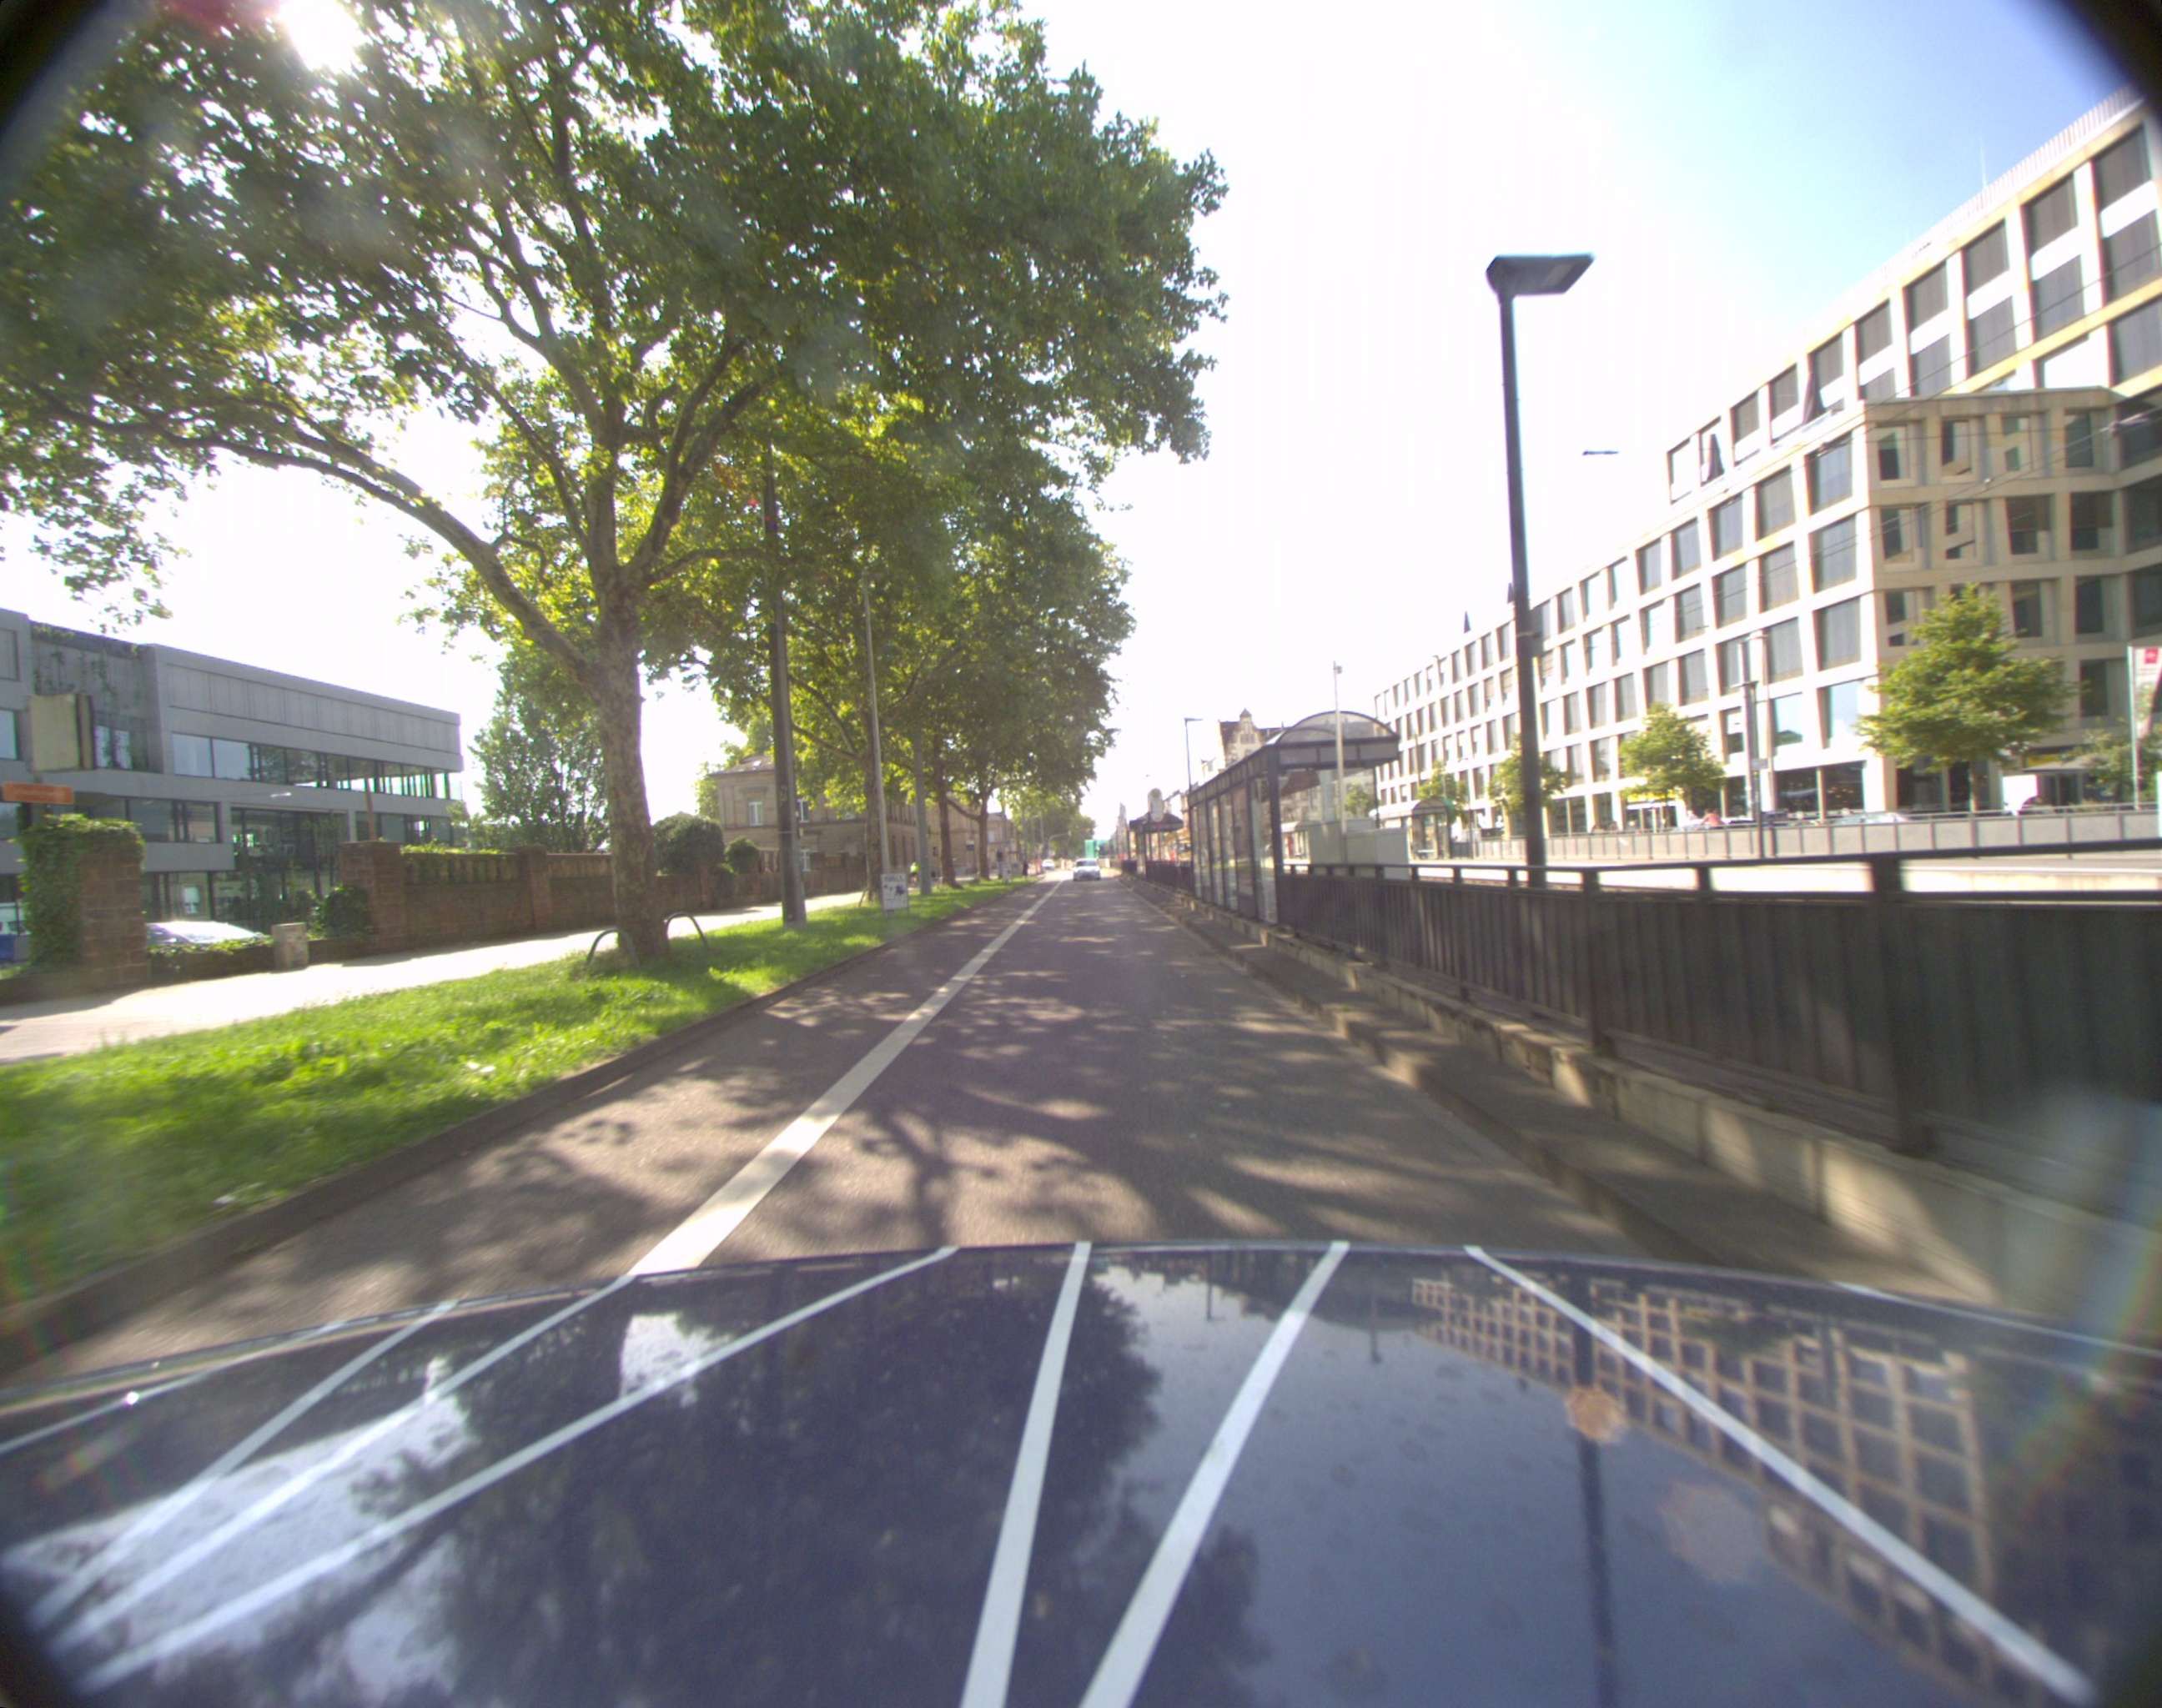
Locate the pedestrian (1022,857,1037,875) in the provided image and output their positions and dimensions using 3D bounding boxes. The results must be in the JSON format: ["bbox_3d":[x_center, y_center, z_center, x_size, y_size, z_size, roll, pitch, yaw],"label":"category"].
[{"bbox_3d":[-4.646,1.082,68.407,0.885,1.616,0.821,-4,0,-35],"label":"pedestrian"}]

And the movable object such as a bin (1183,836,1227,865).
[{"bbox_3d":[15.175,-0.429,93.152,4.127,3.204,3.564,-3,0,-15],"label":"movable object such as a bin"}]

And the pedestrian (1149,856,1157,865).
[{"bbox_3d":[8.035,0.723,84.625,0.702,0.949,0.882,-3,0,1],"label":"pedestrian"}]

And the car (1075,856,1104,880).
[{"bbox_3d":[0.573,0.947,52.265,1.844,1.451,4.000,-3,0,1],"label":"car"}]

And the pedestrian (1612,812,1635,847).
[{"bbox_3d":[32.420,-1.470,45.424,0.768,2.002,0.822,-3,1,4],"label":"pedestrian"}]

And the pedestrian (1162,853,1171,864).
[{"bbox_3d":[9.649,0.515,85.564,0.701,1.148,0.589,-3,0,40],"label":"pedestrian"}]

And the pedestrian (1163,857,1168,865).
[{"bbox_3d":[12.721,1.090,114.436,0.678,1.239,0.547,-3,0,-1],"label":"pedestrian"}]

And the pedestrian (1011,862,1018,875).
[{"bbox_3d":[-6.299,1.402,71.758,0.610,1.211,0.574,-2,0,-2],"label":"pedestrian"}]

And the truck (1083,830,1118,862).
[{"bbox_3d":[2.462,-0.977,100.191,2.817,3.766,9.009,-3,0,-9],"label":"truck"}]

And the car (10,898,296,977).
[{"bbox_3d":[-21.362,1.889,17.660,3.998,1.410,1.999,-3,0,-3],"label":"car"}]

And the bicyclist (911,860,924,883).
[{"bbox_3d":[-10.636,1.159,49.435,0.549,1.445,0.842,-3,0,1],"label":"bicyclist"}]

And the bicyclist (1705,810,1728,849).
[{"bbox_3d":[22.639,-0.882,27.077,0.387,1.353,0.447,-3,0,0],"label":"bicyclist"}]

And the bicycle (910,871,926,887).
[{"bbox_3d":[-10.609,1.615,49.467,0.549,1.001,1.713,-3,0,1],"label":"bicycle"}]

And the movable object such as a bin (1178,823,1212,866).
[{"bbox_3d":[12.666,-1.059,84.793,2.994,4.527,4.212,-3,0,2],"label":"movable object such as a bin"}]

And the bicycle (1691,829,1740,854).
[{"bbox_3d":[22.669,-0.432,27.166,0.389,0.874,1.576,-3,0,1],"label":"bicycle"}]

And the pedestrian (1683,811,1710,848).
[{"bbox_3d":[33.885,-1.350,41.818,0.769,2.002,0.822,-3,1,4],"label":"pedestrian"}]

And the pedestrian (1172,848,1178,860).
[{"bbox_3d":[14.305,0.022,116.031,0.752,1.692,0.678,-3,0,0],"label":"pedestrian"}]
